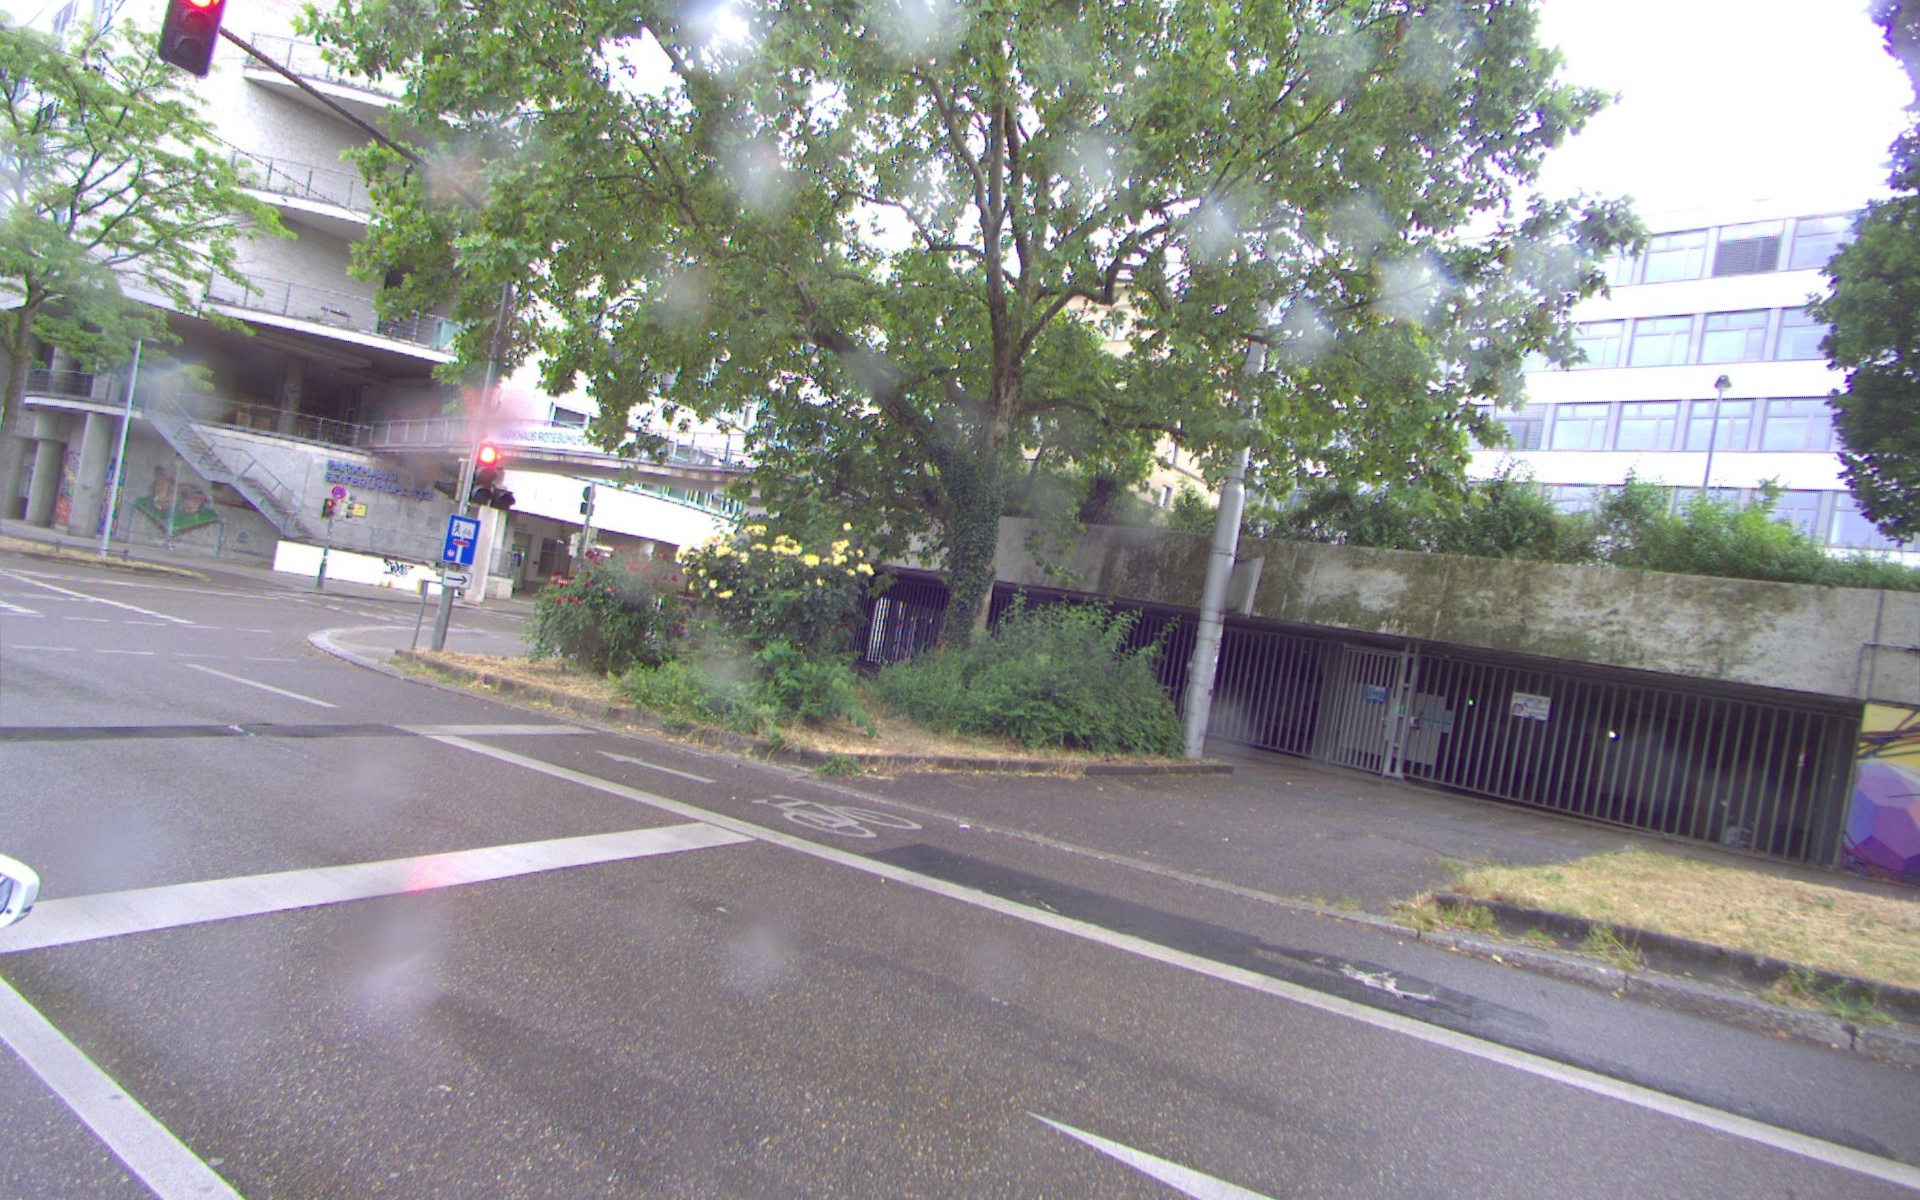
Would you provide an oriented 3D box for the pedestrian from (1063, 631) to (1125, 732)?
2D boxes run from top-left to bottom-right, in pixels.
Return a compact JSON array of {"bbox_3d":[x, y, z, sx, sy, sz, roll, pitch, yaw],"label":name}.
[{"bbox_3d":[2.743,1.664,20.556,0.745,1.932,0.847,8,-1,31],"label":"pedestrian"}]
